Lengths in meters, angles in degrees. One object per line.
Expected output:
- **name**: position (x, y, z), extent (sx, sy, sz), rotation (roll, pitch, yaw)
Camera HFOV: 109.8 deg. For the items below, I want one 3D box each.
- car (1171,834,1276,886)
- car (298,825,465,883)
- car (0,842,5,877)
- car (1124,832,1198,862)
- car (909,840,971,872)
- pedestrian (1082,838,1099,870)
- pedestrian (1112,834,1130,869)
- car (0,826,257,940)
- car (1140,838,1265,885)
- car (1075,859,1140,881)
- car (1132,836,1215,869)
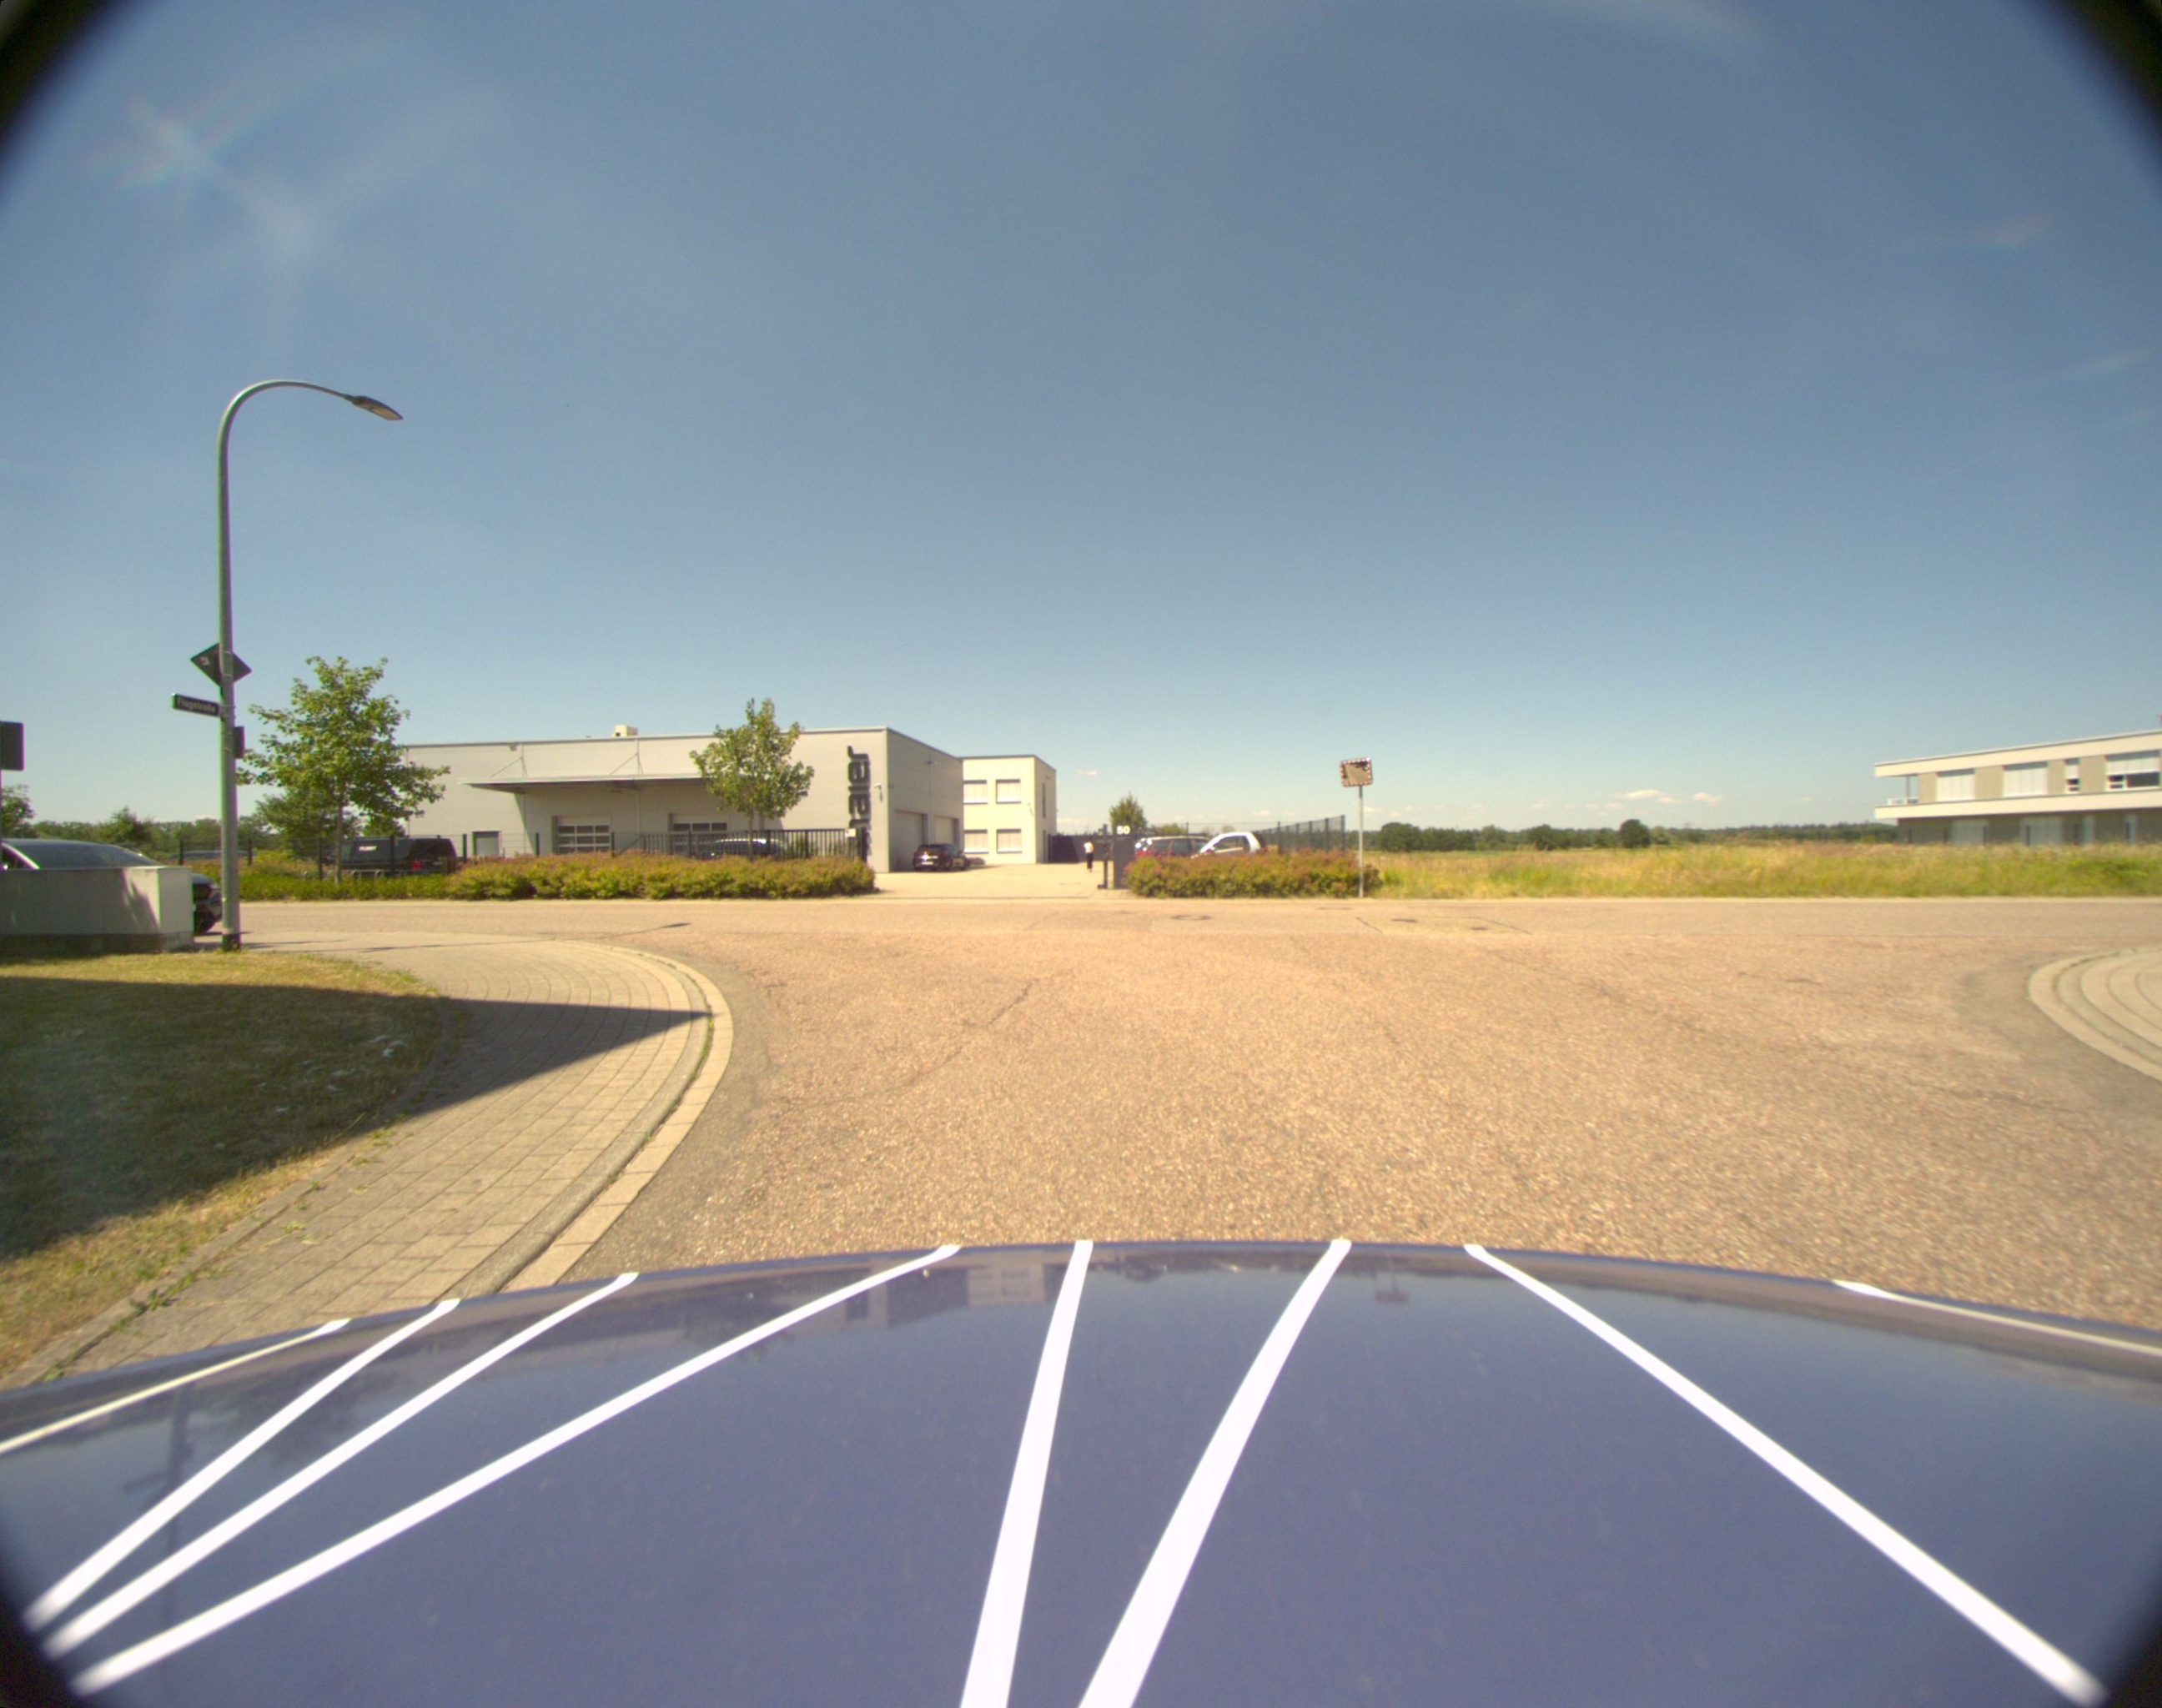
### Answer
- **car**: position (4.318, 0.171, 23.408), extent (2.994, 1.511, 1.706), rotation (0, 1, 4)
- **car**: position (-26.246, -0.037, 28.610), extent (4.687, 2.087, 2.008), rotation (0, 3, 8)
- **car**: position (-46.715, 0.288, 30.054), extent (1.962, 1.438, 4.320), rotation (0, 2, 6)
- **car**: position (4.427, -0.396, 42.288), extent (3.996, 1.596, 1.677), rotation (1, 1, 4)
- **car**: position (-6.740, 0.058, 36.786), extent (1.795, 1.412, 3.872), rotation (0, 1, 9)
- **pedestrian**: position (0.465, -0.016, 38.351), extent (0.775, 1.620, 0.621), rotation (0, 2, -7)
- **pedestrian**: position (1.945, -0.124, 37.417), extent (0.829, 1.673, 0.712), rotation (0, 2, -1)
- **car**: position (-16.336, 0.456, 12.177), extent (4.602, 1.652, 1.811), rotation (0, -1, 5)
- **car**: position (3.982, 0.241, 25.519), extent (3.996, 1.532, 1.831), rotation (0, 1, 4)
- **car**: position (1.744, 0.998, 49.094), extent (3.995, 1.303, 2.001), rotation (0, 2, 7)
- **car**: position (4.554, -0.062, 37.817), extent (3.996, 1.596, 1.677), rotation (0, 1, 4)
